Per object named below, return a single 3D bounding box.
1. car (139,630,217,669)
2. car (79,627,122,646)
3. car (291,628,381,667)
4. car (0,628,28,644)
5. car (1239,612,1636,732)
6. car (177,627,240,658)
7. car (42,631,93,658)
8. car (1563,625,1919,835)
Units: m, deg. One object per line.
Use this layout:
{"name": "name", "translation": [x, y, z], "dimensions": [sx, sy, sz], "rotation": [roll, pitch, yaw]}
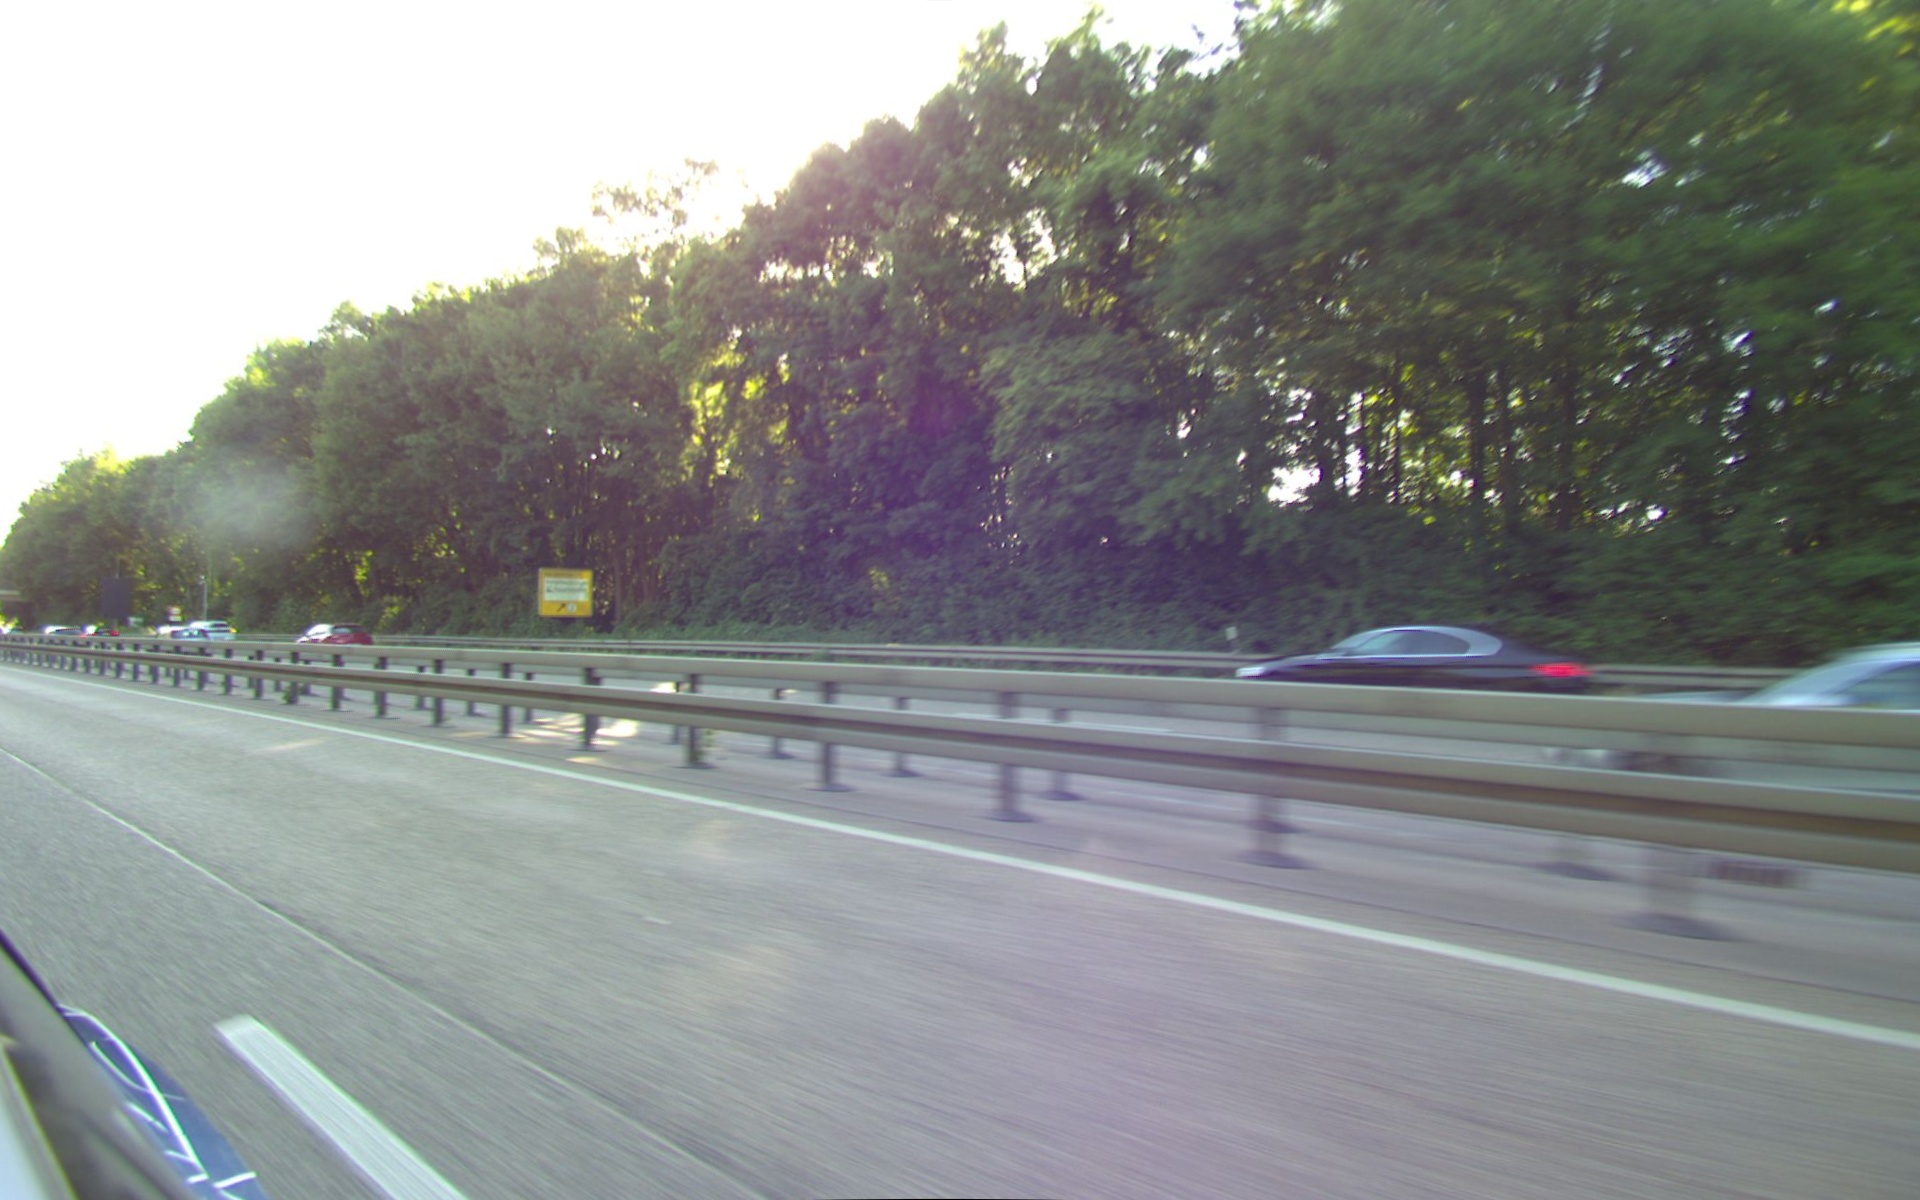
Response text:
{"name": "car", "translation": [-32.519, 2.032, 42.049], "dimensions": [4.093, 1.383, 1.707], "rotation": [1, -2, 40]}
{"name": "car", "translation": [-69.842, 2.958, 82.206], "dimensions": [3.996, 1.497, 1.973], "rotation": [-1, -3, 40]}
{"name": "car", "translation": [-25.032, 1.874, 40.586], "dimensions": [3.998, 1.475, 1.972], "rotation": [-1, -3, 42]}
{"name": "car", "translation": [-105.670, 4.003, 112.764], "dimensions": [4.703, 1.612, 1.973], "rotation": [-1, -3, 40]}
{"name": "car", "translation": [6.800, 0.966, 14.787], "dimensions": [4.900, 1.475, 1.972], "rotation": [-1, -3, 42]}
{"name": "car", "translation": [-42.406, 2.385, 57.067], "dimensions": [4.789, 1.635, 1.972], "rotation": [-1, -3, 43]}
{"name": "car", "translation": [-50.488, 2.502, 57.219], "dimensions": [4.096, 1.479, 1.705], "rotation": [-1, -3, 43]}
{"name": "car", "translation": [7.557, 0.955, 7.787], "dimensions": [4.738, 1.475, 1.972], "rotation": [-1, -3, 42]}
